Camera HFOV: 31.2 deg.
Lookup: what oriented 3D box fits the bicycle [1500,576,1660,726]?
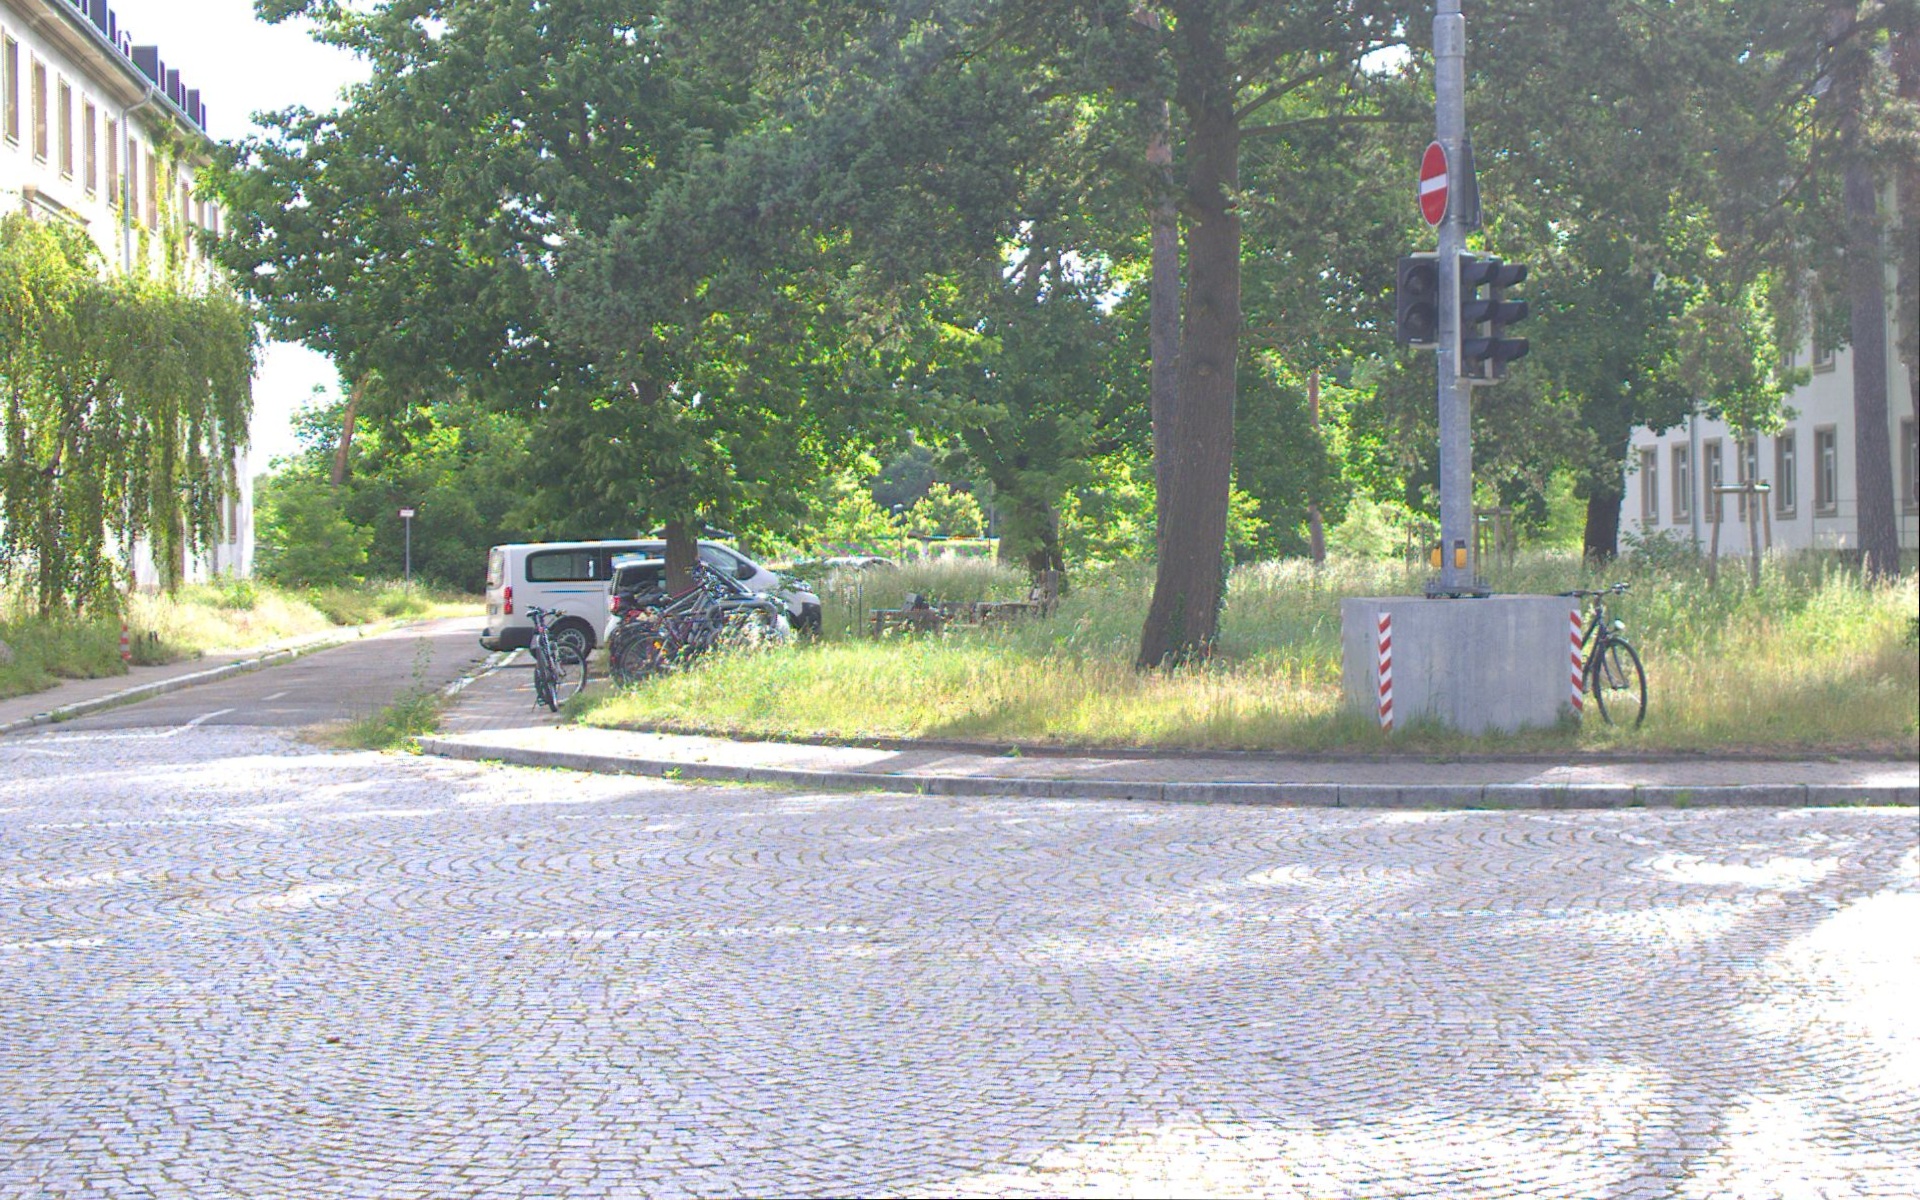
[{"bbox_3d":[4.444,0.347,24.751,0.562,0.995,1.752,-1,2,-9],"label":"bicycle"}]

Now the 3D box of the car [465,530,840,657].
[{"bbox_3d":[-4.855,-0.118,54.167,5.499,1.909,2.255,-1,0,-19],"label":"car"}]

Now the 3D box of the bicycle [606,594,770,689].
[{"bbox_3d":[-3.038,0.455,38.330,1.792,0.995,0.644,-1,2,-6],"label":"bicycle"}]

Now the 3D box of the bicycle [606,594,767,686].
[{"bbox_3d":[-3.136,0.452,39.346,1.792,0.995,0.644,-1,2,-6],"label":"bicycle"}]

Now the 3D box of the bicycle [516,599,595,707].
[{"bbox_3d":[-4.065,0.522,34.636,0.728,0.995,1.799,-1,2,-5],"label":"bicycle"}]

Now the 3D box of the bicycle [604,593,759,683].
[{"bbox_3d":[-3.313,0.444,40.837,1.792,0.995,0.644,-1,2,-6],"label":"bicycle"}]

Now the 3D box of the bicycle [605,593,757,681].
[{"bbox_3d":[-3.376,0.440,41.574,1.792,0.995,0.644,-1,2,-6],"label":"bicycle"}]

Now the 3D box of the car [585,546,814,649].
[{"bbox_3d":[-3.851,-0.034,50.675,3.031,1.460,1.720,-1,0,-18],"label":"car"}]
